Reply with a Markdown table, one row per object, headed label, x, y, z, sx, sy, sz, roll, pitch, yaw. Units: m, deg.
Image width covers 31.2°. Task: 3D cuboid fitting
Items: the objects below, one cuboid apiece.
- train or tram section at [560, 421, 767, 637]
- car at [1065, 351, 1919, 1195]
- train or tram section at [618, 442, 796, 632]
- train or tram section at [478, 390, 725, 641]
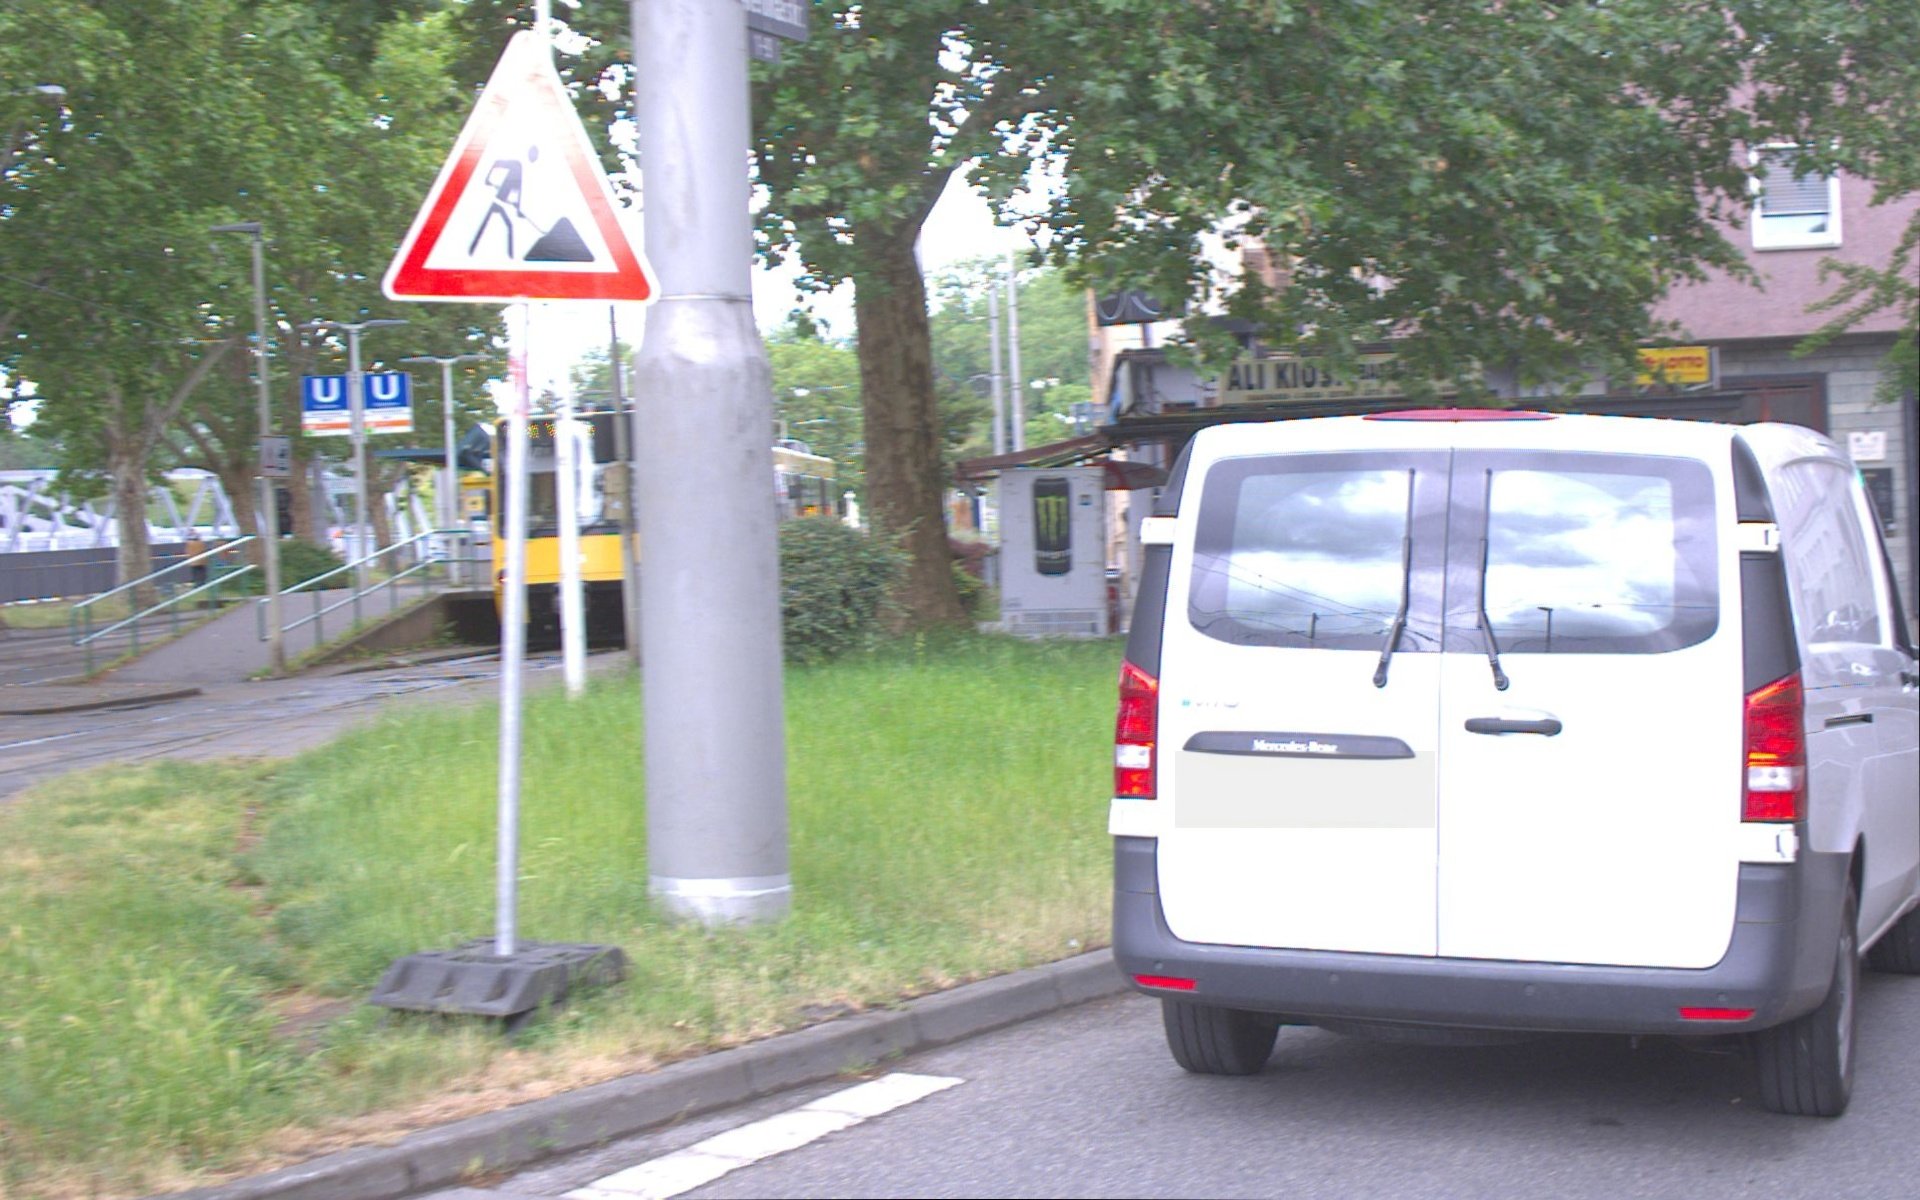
| label | x | y | z | sx | sy | sz | roll | pitch | yaw |
| --- | --- | --- | --- | --- | --- | --- | --- | --- | --- |
| train or tram section | -5.097 | -1.154 | 60.425 | 2.579 | 3.439 | 7.756 | -3 | 0 | 2 |
| car | 1.961 | 0.412 | 10.715 | 1.952 | 2.007 | 4.693 | -1 | 0 | 19 |
| train or tram section | -4.924 | -1.161 | 68.223 | 2.579 | 3.439 | 7.756 | -3 | 0 | 2 |
| train or tram section | -5.356 | -1.186 | 52.650 | 2.579 | 3.439 | 7.756 | -3 | 0 | 2 |
